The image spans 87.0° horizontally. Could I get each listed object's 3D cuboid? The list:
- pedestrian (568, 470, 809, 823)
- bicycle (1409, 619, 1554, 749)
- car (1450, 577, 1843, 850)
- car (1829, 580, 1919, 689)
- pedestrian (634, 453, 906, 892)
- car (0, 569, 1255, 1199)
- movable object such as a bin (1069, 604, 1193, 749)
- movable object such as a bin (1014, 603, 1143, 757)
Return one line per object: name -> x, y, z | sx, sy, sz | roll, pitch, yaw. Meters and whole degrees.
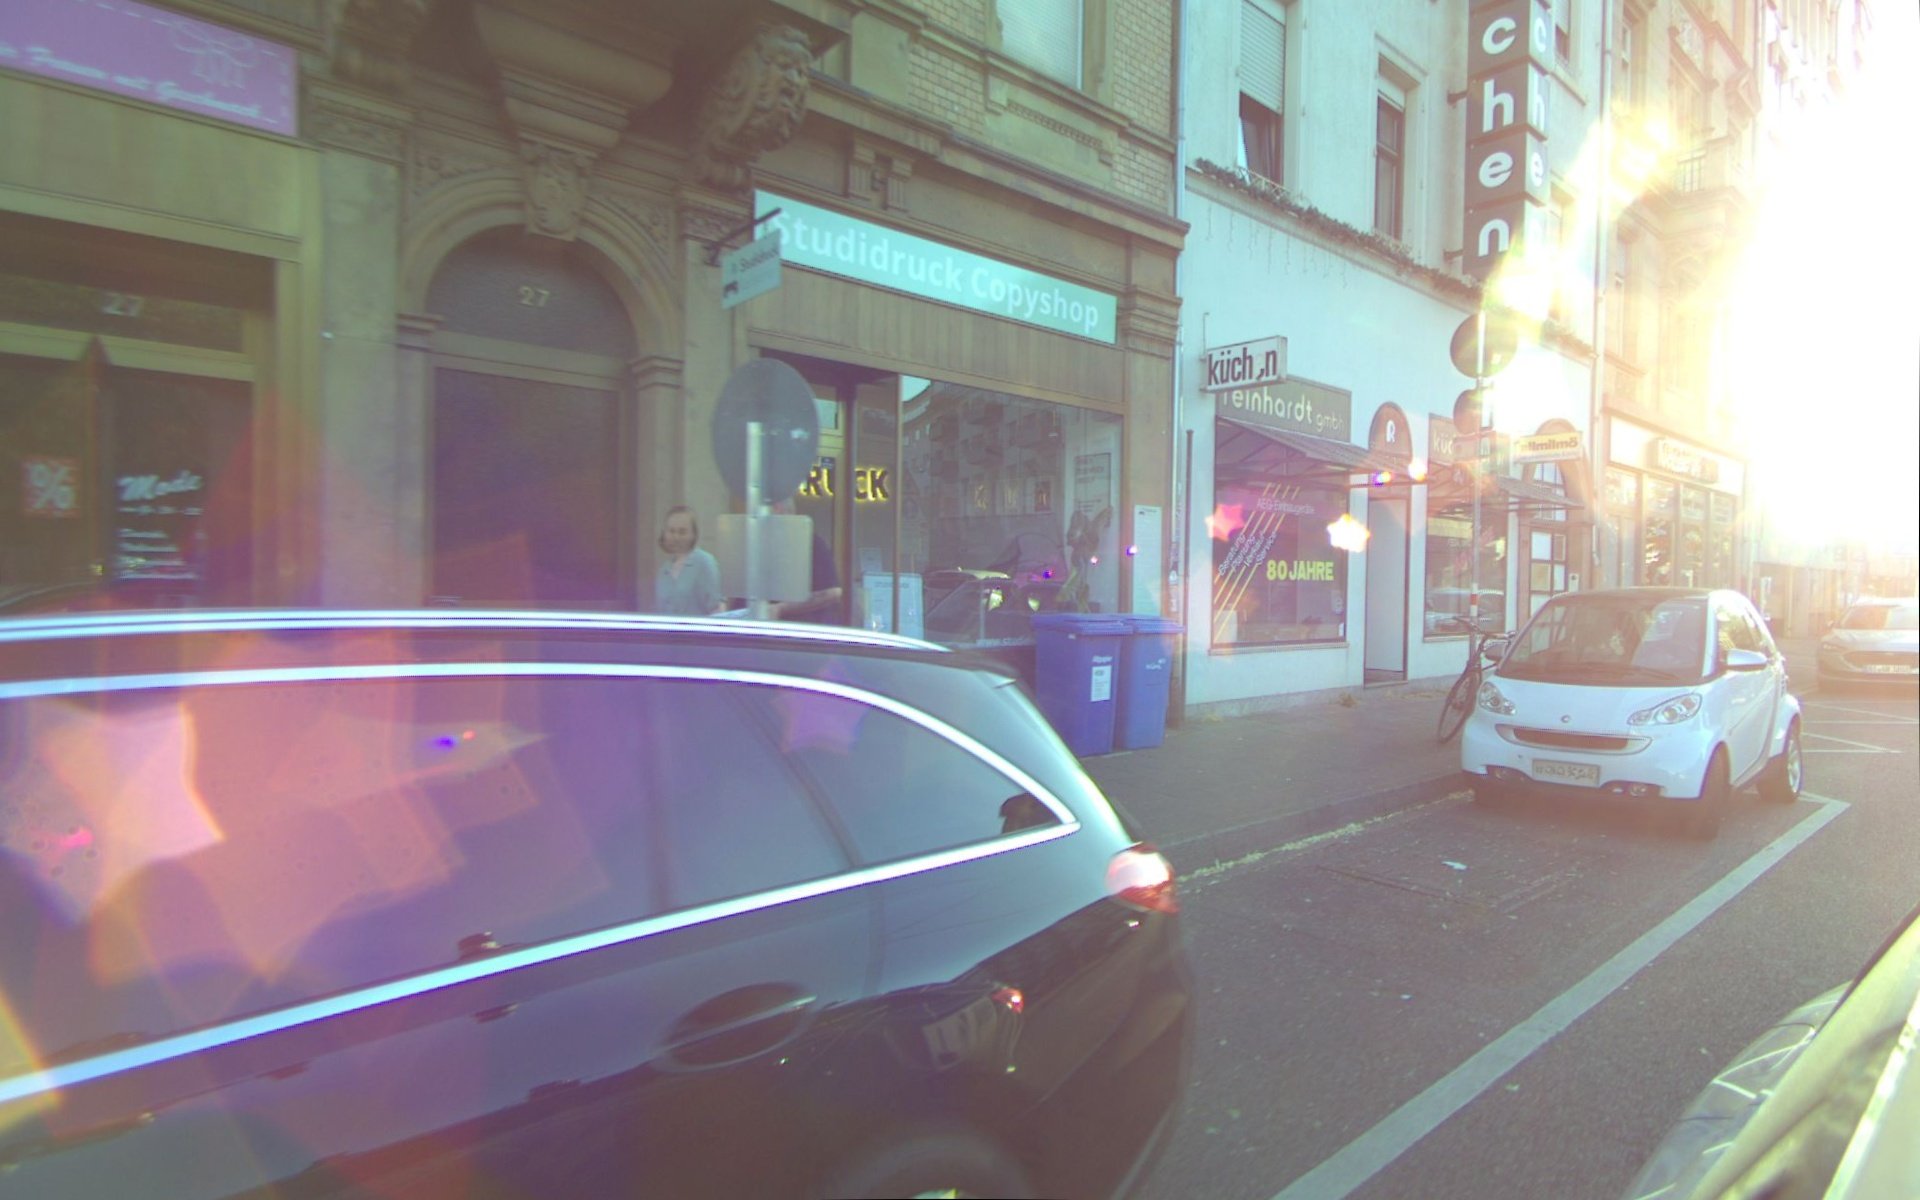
pedestrian -> -1.499, 0.211, 5.592 | 1.024, 1.732, 0.774 | 0, 3, -41
bicycle -> 4.787, 0.714, 9.232 | 1.913, 1.028, 0.505 | 0, 2, -42
car -> 5.106, 0.620, 7.408 | 3.224, 1.556, 1.535 | -1, 1, -39
car -> 15.486, 0.466, 16.269 | 4.740, 1.556, 1.761 | -1, 0, -43
pedestrian -> -0.915, 0.288, 4.877 | 0.993, 1.849, 0.774 | 0, 2, -41
car -> -1.639, 0.719, 1.333 | 4.445, 1.466, 1.733 | -1, 0, -40
movable object such as a bin -> 1.410, 0.599, 8.394 | 0.607, 1.083, 0.776 | 0, 3, -41
movable object such as a bin -> 0.925, 0.594, 7.974 | 0.607, 1.083, 0.776 | 0, 3, -41
